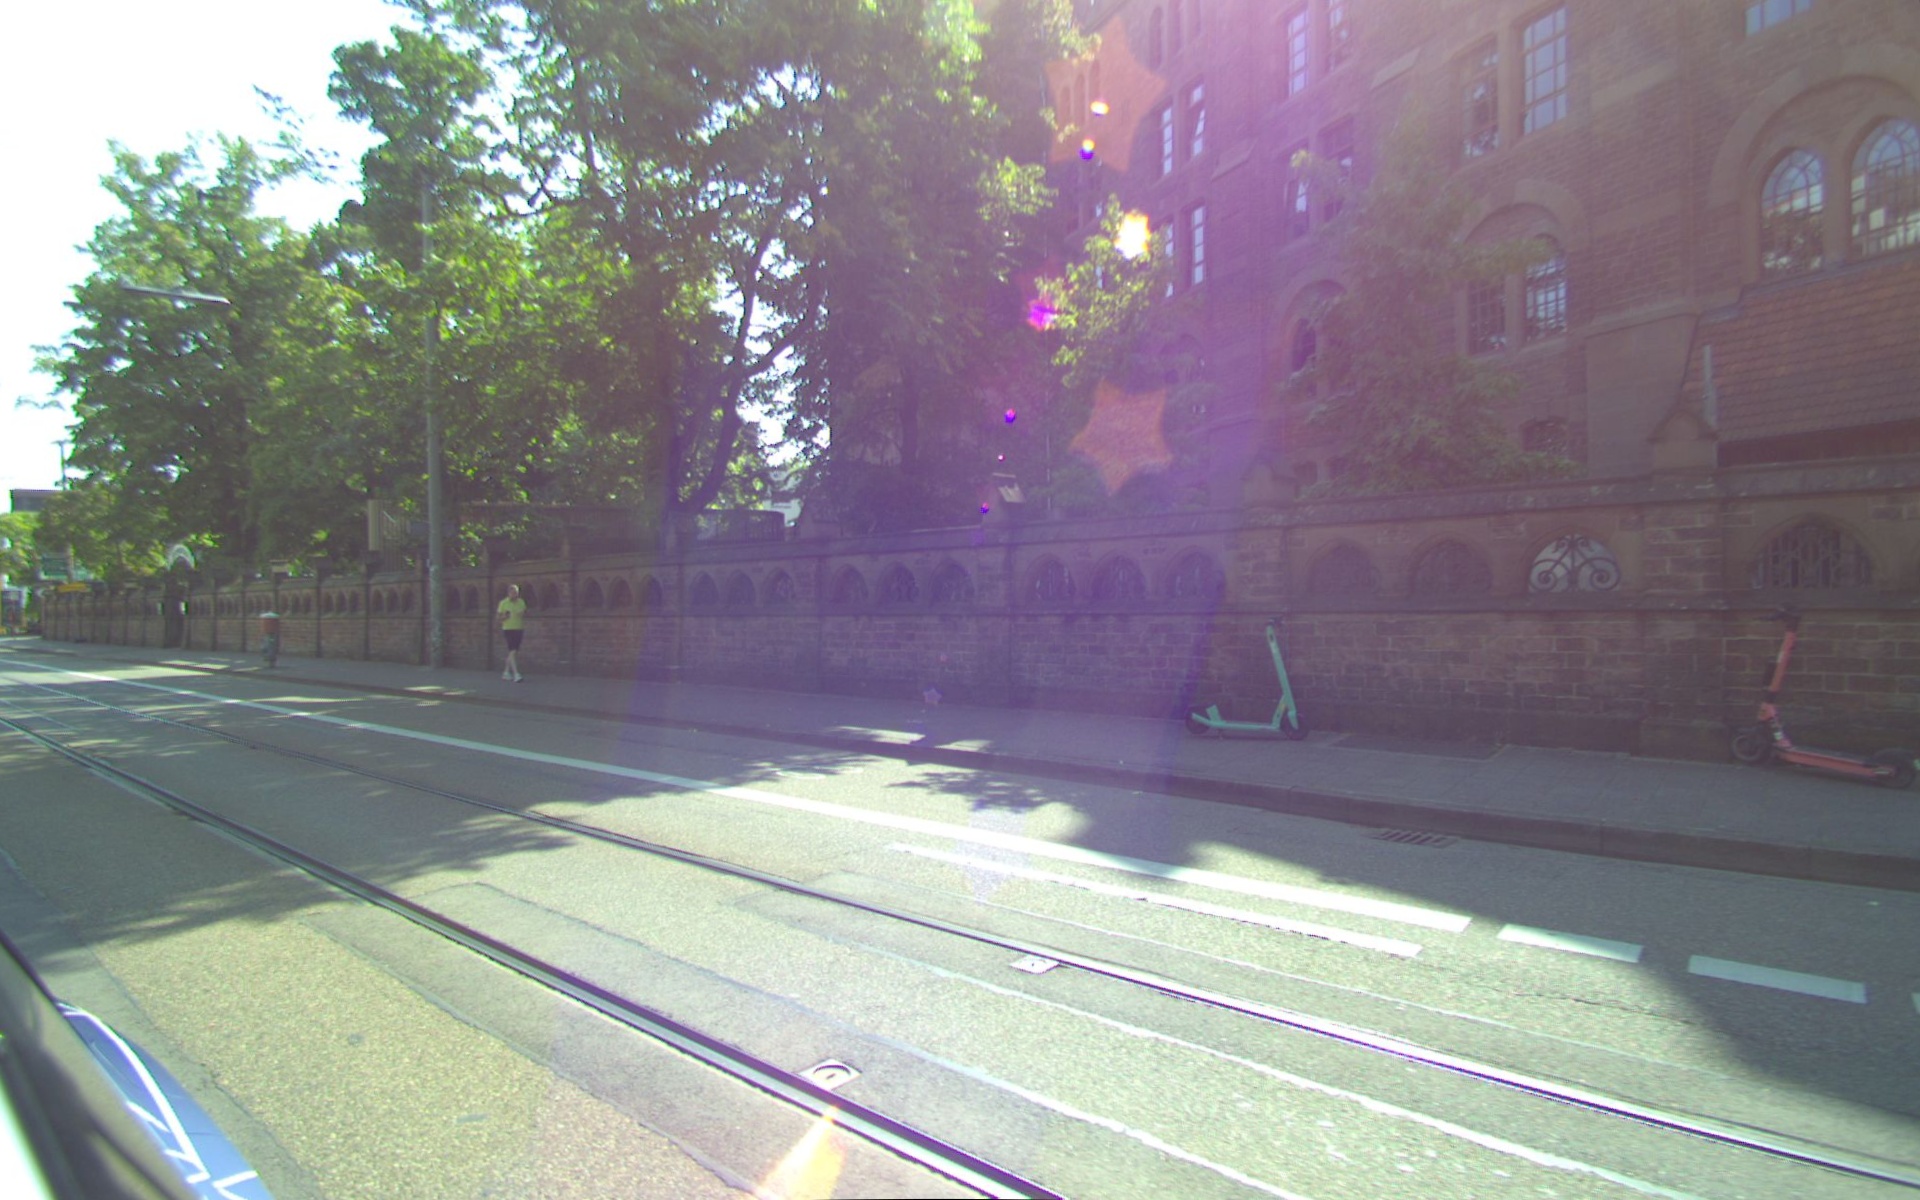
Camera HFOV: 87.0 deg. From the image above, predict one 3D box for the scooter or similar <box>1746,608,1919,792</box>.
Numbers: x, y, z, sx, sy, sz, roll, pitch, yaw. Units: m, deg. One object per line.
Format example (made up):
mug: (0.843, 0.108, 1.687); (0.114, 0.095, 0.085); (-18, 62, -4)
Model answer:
scooter or similar: (6.197, 0.651, 6.979); (0.334, 1.187, 1.182); (-1, 0, -24)

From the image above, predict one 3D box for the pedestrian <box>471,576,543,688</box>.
pedestrian: (-8.478, 0.586, 18.948); (0.982, 2.029, 0.855); (-1, 0, 38)

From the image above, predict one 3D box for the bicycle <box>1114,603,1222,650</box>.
bicycle: (5.404, 0.672, 26.283); (2.642, 1.105, 0.904); (-1, 0, -20)

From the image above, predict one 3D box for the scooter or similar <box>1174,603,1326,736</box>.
scooter or similar: (2.726, 0.634, 9.532); (1.309, 1.187, 0.418); (-1, 0, 25)
